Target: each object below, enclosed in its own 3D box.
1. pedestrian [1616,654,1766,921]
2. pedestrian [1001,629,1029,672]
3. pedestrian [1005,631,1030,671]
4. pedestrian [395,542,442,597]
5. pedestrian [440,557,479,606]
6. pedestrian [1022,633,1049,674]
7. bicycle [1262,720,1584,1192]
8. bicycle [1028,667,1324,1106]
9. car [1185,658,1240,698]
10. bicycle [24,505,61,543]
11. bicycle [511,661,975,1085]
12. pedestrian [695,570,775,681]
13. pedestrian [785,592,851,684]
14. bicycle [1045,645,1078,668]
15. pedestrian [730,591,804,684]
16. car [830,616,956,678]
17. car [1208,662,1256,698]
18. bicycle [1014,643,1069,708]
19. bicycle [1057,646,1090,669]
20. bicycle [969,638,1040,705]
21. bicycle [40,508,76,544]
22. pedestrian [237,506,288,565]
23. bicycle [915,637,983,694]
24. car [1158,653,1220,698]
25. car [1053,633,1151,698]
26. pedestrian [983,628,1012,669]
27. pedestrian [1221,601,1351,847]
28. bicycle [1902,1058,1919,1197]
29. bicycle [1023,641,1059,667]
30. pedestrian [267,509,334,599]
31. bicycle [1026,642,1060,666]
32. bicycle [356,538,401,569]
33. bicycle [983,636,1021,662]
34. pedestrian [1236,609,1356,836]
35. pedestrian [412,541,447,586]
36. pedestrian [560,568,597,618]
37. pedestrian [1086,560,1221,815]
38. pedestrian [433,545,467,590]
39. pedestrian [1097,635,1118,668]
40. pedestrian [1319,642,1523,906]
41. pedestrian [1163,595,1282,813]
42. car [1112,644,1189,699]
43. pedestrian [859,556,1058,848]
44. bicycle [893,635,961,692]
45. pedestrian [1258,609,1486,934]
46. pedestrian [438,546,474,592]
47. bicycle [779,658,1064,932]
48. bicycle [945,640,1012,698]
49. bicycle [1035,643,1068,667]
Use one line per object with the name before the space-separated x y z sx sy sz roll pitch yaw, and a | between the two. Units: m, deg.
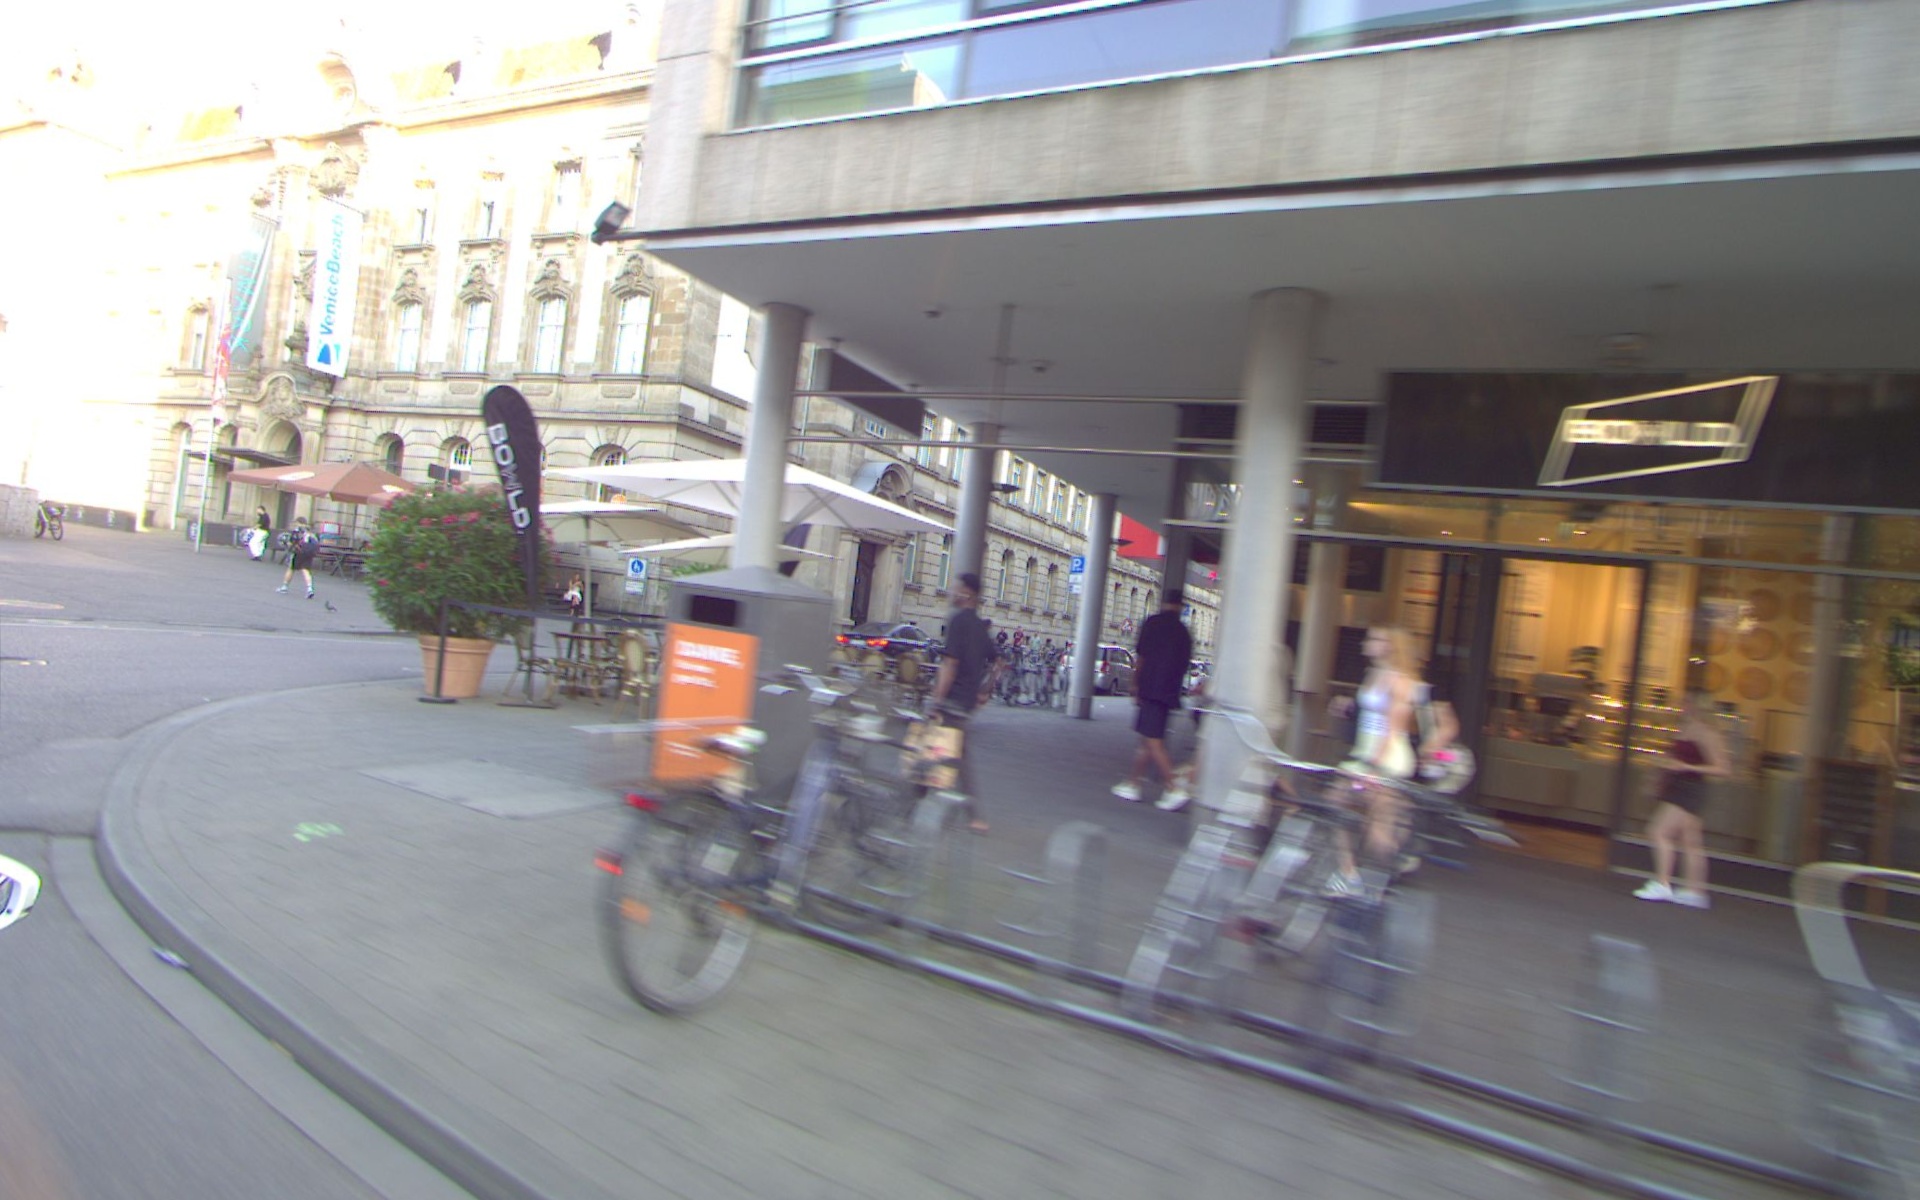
pedestrian | 5.231 1.301 7.240 0.606 1.753 0.571 7 1 26
pedestrian | 2.510 2.303 45.498 0.687 1.833 0.975 9 0 24
pedestrian | 2.682 2.389 47.135 0.679 1.773 0.721 9 0 24
pedestrian | -15.303 -0.861 28.439 0.643 1.399 0.804 10 0 37
pedestrian | -13.991 -0.516 28.127 0.691 1.240 0.615 10 0 41
pedestrian | 3.549 2.509 47.219 0.775 1.773 0.721 9 0 24
bicycle | 1.708 1.135 3.879 0.749 1.091 1.919 7 1 22
bicycle | 1.006 0.971 4.183 0.749 1.238 1.919 7 1 22
car | 11.785 3.659 46.851 1.620 1.541 3.283 9 -1 26
bicycle | -24.420 -2.022 26.776 0.982 0.878 0.316 7 1 26
bicycle | -0.668 0.839 3.846 0.654 1.122 1.857 7 0 24
pedestrian | -4.111 0.473 18.413 0.858 1.860 0.806 7 -2 27
pedestrian | -3.119 0.848 22.146 0.858 1.862 0.867 10 1 21
bicycle | 5.703 3.168 56.660 1.655 1.054 0.487 9 0 26
pedestrian | -3.659 0.723 19.099 0.858 1.599 0.806 7 -2 27
car | -1.849 1.400 29.059 1.744 1.425 4.052 6 -2 26
car | 14.218 4.202 52.484 1.620 1.541 3.283 9 -1 26
bicycle | 1.585 1.451 19.278 0.536 1.130 1.814 5 -2 18
bicycle | 6.604 3.361 58.551 1.655 1.054 0.487 9 0 26
bicycle | 0.845 1.329 18.472 0.537 1.130 1.812 5 -2 26
bicycle | -24.278 -1.992 27.068 0.982 0.878 0.316 7 1 26
pedestrian | -20.922 -1.946 30.193 0.836 1.585 0.848 9 1 33
bicycle | -0.194 1.331 20.181 0.551 1.053 1.684 5 -2 27
car | 9.664 3.189 42.286 1.620 1.541 3.283 9 -1 26
car | 4.590 2.121 31.972 1.744 1.655 4.051 9 -1 26
pedestrian | 1.703 2.207 45.787 0.785 1.695 0.975 9 0 24
pedestrian | 2.633 0.968 8.099 0.707 1.809 0.664 7 1 27
bicycle | 3.026 1.171 2.136 0.712 1.350 1.919 7 1 22
bicycle | 4.212 2.797 52.212 1.655 1.054 0.487 9 0 26
pedestrian | -14.624 -1.007 22.306 0.792 1.845 0.809 8 1 31
bicycle | 4.522 2.936 54.950 1.655 1.054 0.487 9 0 26
bicycle | -20.234 -1.607 35.019 0.403 0.905 1.322 8 0 22
bicycle | 2.051 2.398 49.360 1.653 1.054 0.487 9 0 10
pedestrian | 2.924 1.031 8.732 0.707 1.809 0.664 7 1 27
pedestrian | -17.083 -1.164 32.386 0.571 1.324 0.594 10 0 22
pedestrian | -11.389 -0.207 30.033 0.660 1.325 0.764 7 3 -38
pedestrian | 1.691 0.735 8.741 0.769 2.039 0.688 7 1 27
pedestrian | -16.686 -1.062 32.930 0.571 1.324 0.594 10 0 25
pedestrian | 8.756 3.062 59.679 0.792 1.773 0.810 10 1 24
pedestrian | 3.050 1.116 6.737 0.796 1.555 0.804 7 1 -4
pedestrian | 2.447 0.942 9.358 0.707 1.871 0.663 7 1 33
car | 7.110 2.643 37.203 1.743 1.655 4.090 9 -1 23
pedestrian | 0.002 0.646 6.760 0.907 1.740 0.765 7 0 28
bicycle | -0.648 1.295 20.393 0.551 1.053 1.684 5 -2 27
pedestrian | 2.395 0.956 5.956 0.796 1.716 0.804 7 1 -4
pedestrian | -16.017 -0.967 31.995 0.597 1.324 0.609 10 0 22
bicycle | -0.107 0.909 5.378 0.654 1.122 1.857 7 0 24
bicycle | 0.380 1.381 19.893 0.551 1.053 1.684 5 -2 27
bicycle | 5.048 3.038 55.575 1.655 1.054 0.487 9 0 26
